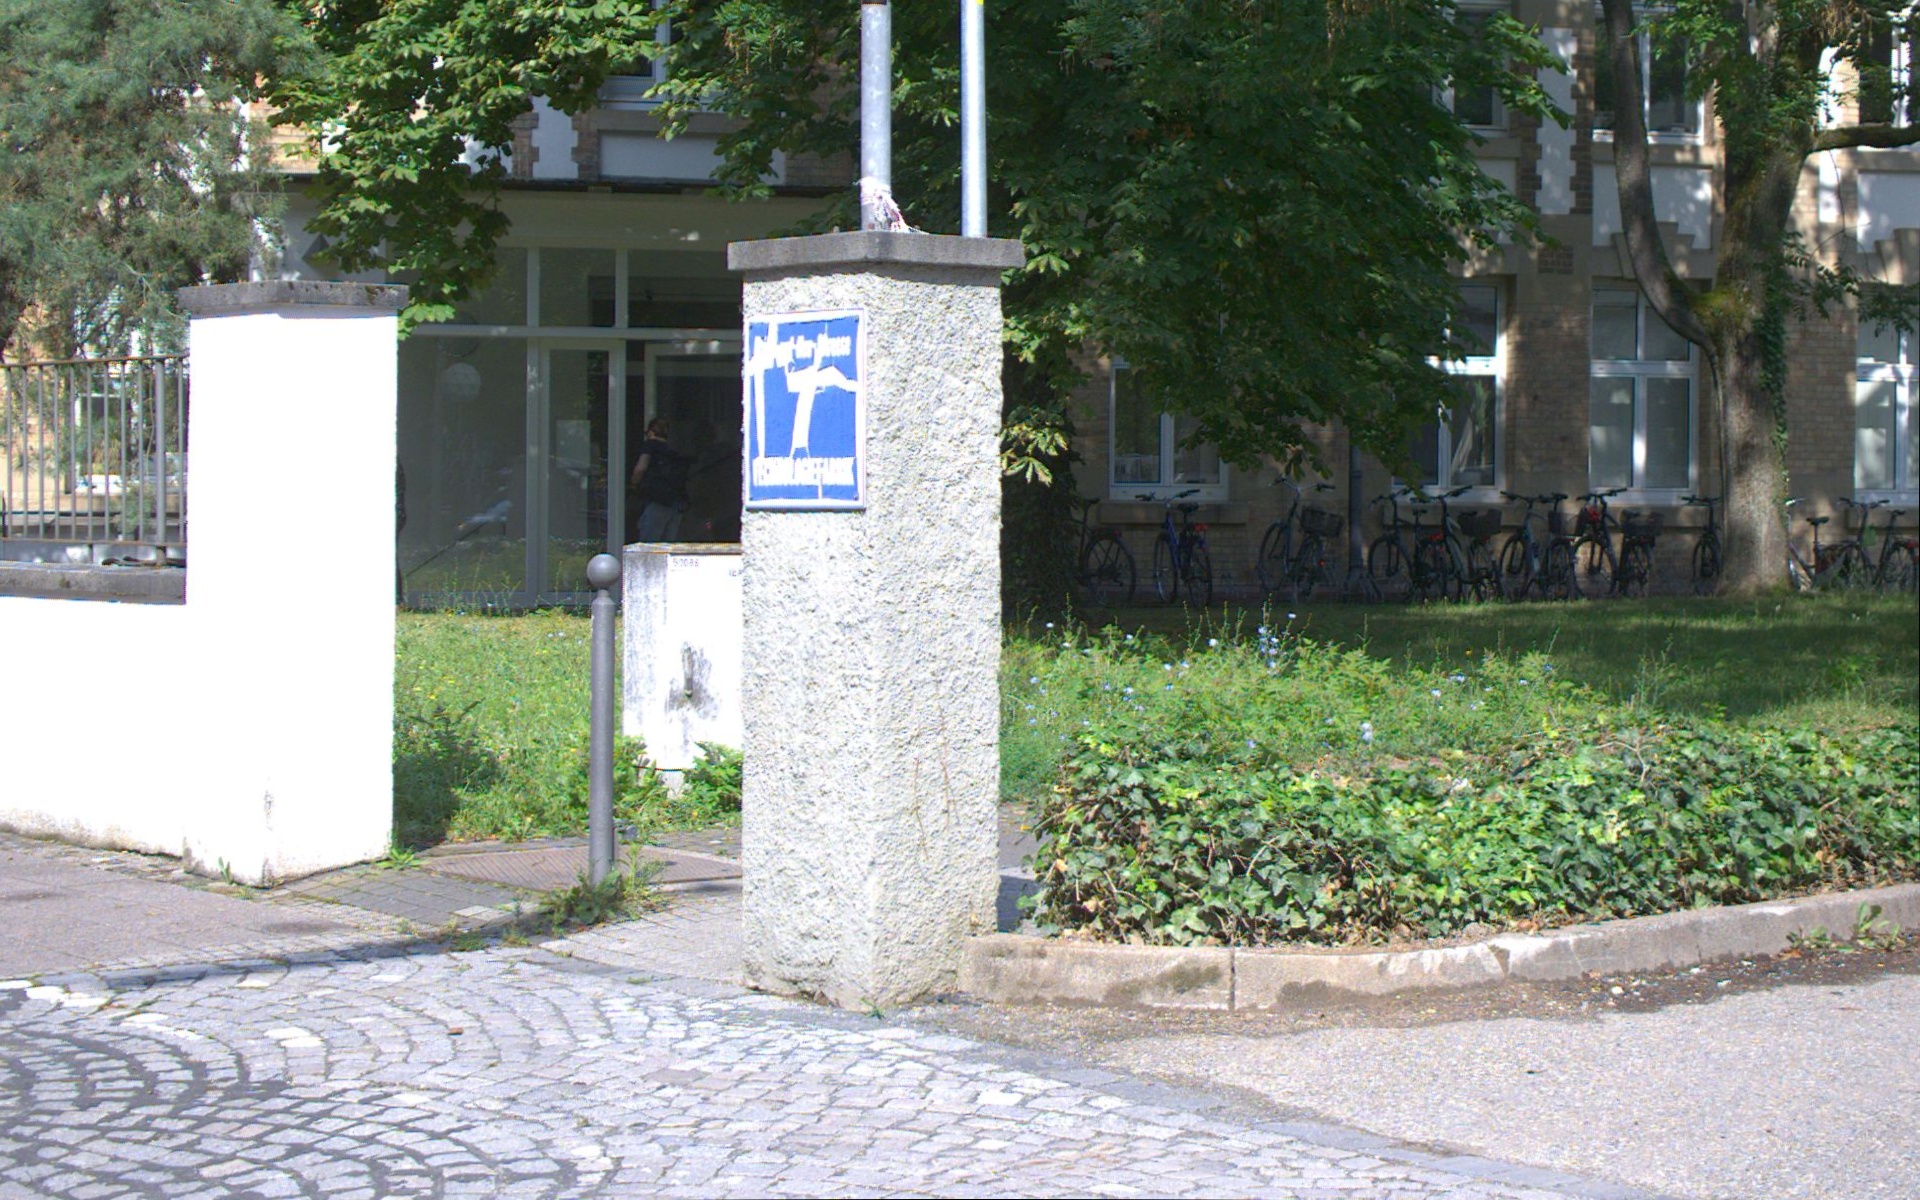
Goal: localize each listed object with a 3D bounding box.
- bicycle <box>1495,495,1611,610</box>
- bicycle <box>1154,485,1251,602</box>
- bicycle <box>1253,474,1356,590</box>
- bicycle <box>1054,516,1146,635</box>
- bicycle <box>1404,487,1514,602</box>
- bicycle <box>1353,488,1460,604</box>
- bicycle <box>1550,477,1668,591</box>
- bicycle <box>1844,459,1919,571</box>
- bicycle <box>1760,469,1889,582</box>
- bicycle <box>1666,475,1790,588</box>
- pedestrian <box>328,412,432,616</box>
[{"bbox_3d":[5.652,-0.450,32.881,0.418,1.053,2.067,-2,1,-9],"label":"bicycle"},{"bbox_3d":[2.252,-0.519,32.177,0.418,1.053,2.067,-2,1,-9],"label":"bicycle"},{"bbox_3d":[3.236,-0.629,32.438,0.418,1.053,2.067,-2,1,-9],"label":"bicycle"},{"bbox_3d":[1.284,-0.230,31.854,0.418,1.053,2.067,-2,1,-9],"label":"bicycle"},{"bbox_3d":[4.758,-0.519,32.884,0.418,1.053,2.067,-2,1,-9],"label":"bicycle"},{"bbox_3d":[4.245,-0.506,32.818,0.418,1.053,2.067,-2,1,-9],"label":"bicycle"},{"bbox_3d":[6.247,-0.626,33.186,0.418,1.053,2.067,-2,1,-9],"label":"bicycle"},{"bbox_3d":[9.245,-0.813,33.499,0.418,1.053,2.067,2,0,-9],"label":"bicycle"},{"bbox_3d":[8.408,-0.712,33.510,0.418,1.053,2.067,2,0,-9],"label":"bicycle"},{"bbox_3d":[7.438,-0.647,33.376,0.418,1.053,2.067,-2,1,-9],"label":"bicycle"},{"bbox_3d":[-4.898,-0.717,29.015,0.770,1.672,0.809,2,0,-14],"label":"pedestrian"}]
